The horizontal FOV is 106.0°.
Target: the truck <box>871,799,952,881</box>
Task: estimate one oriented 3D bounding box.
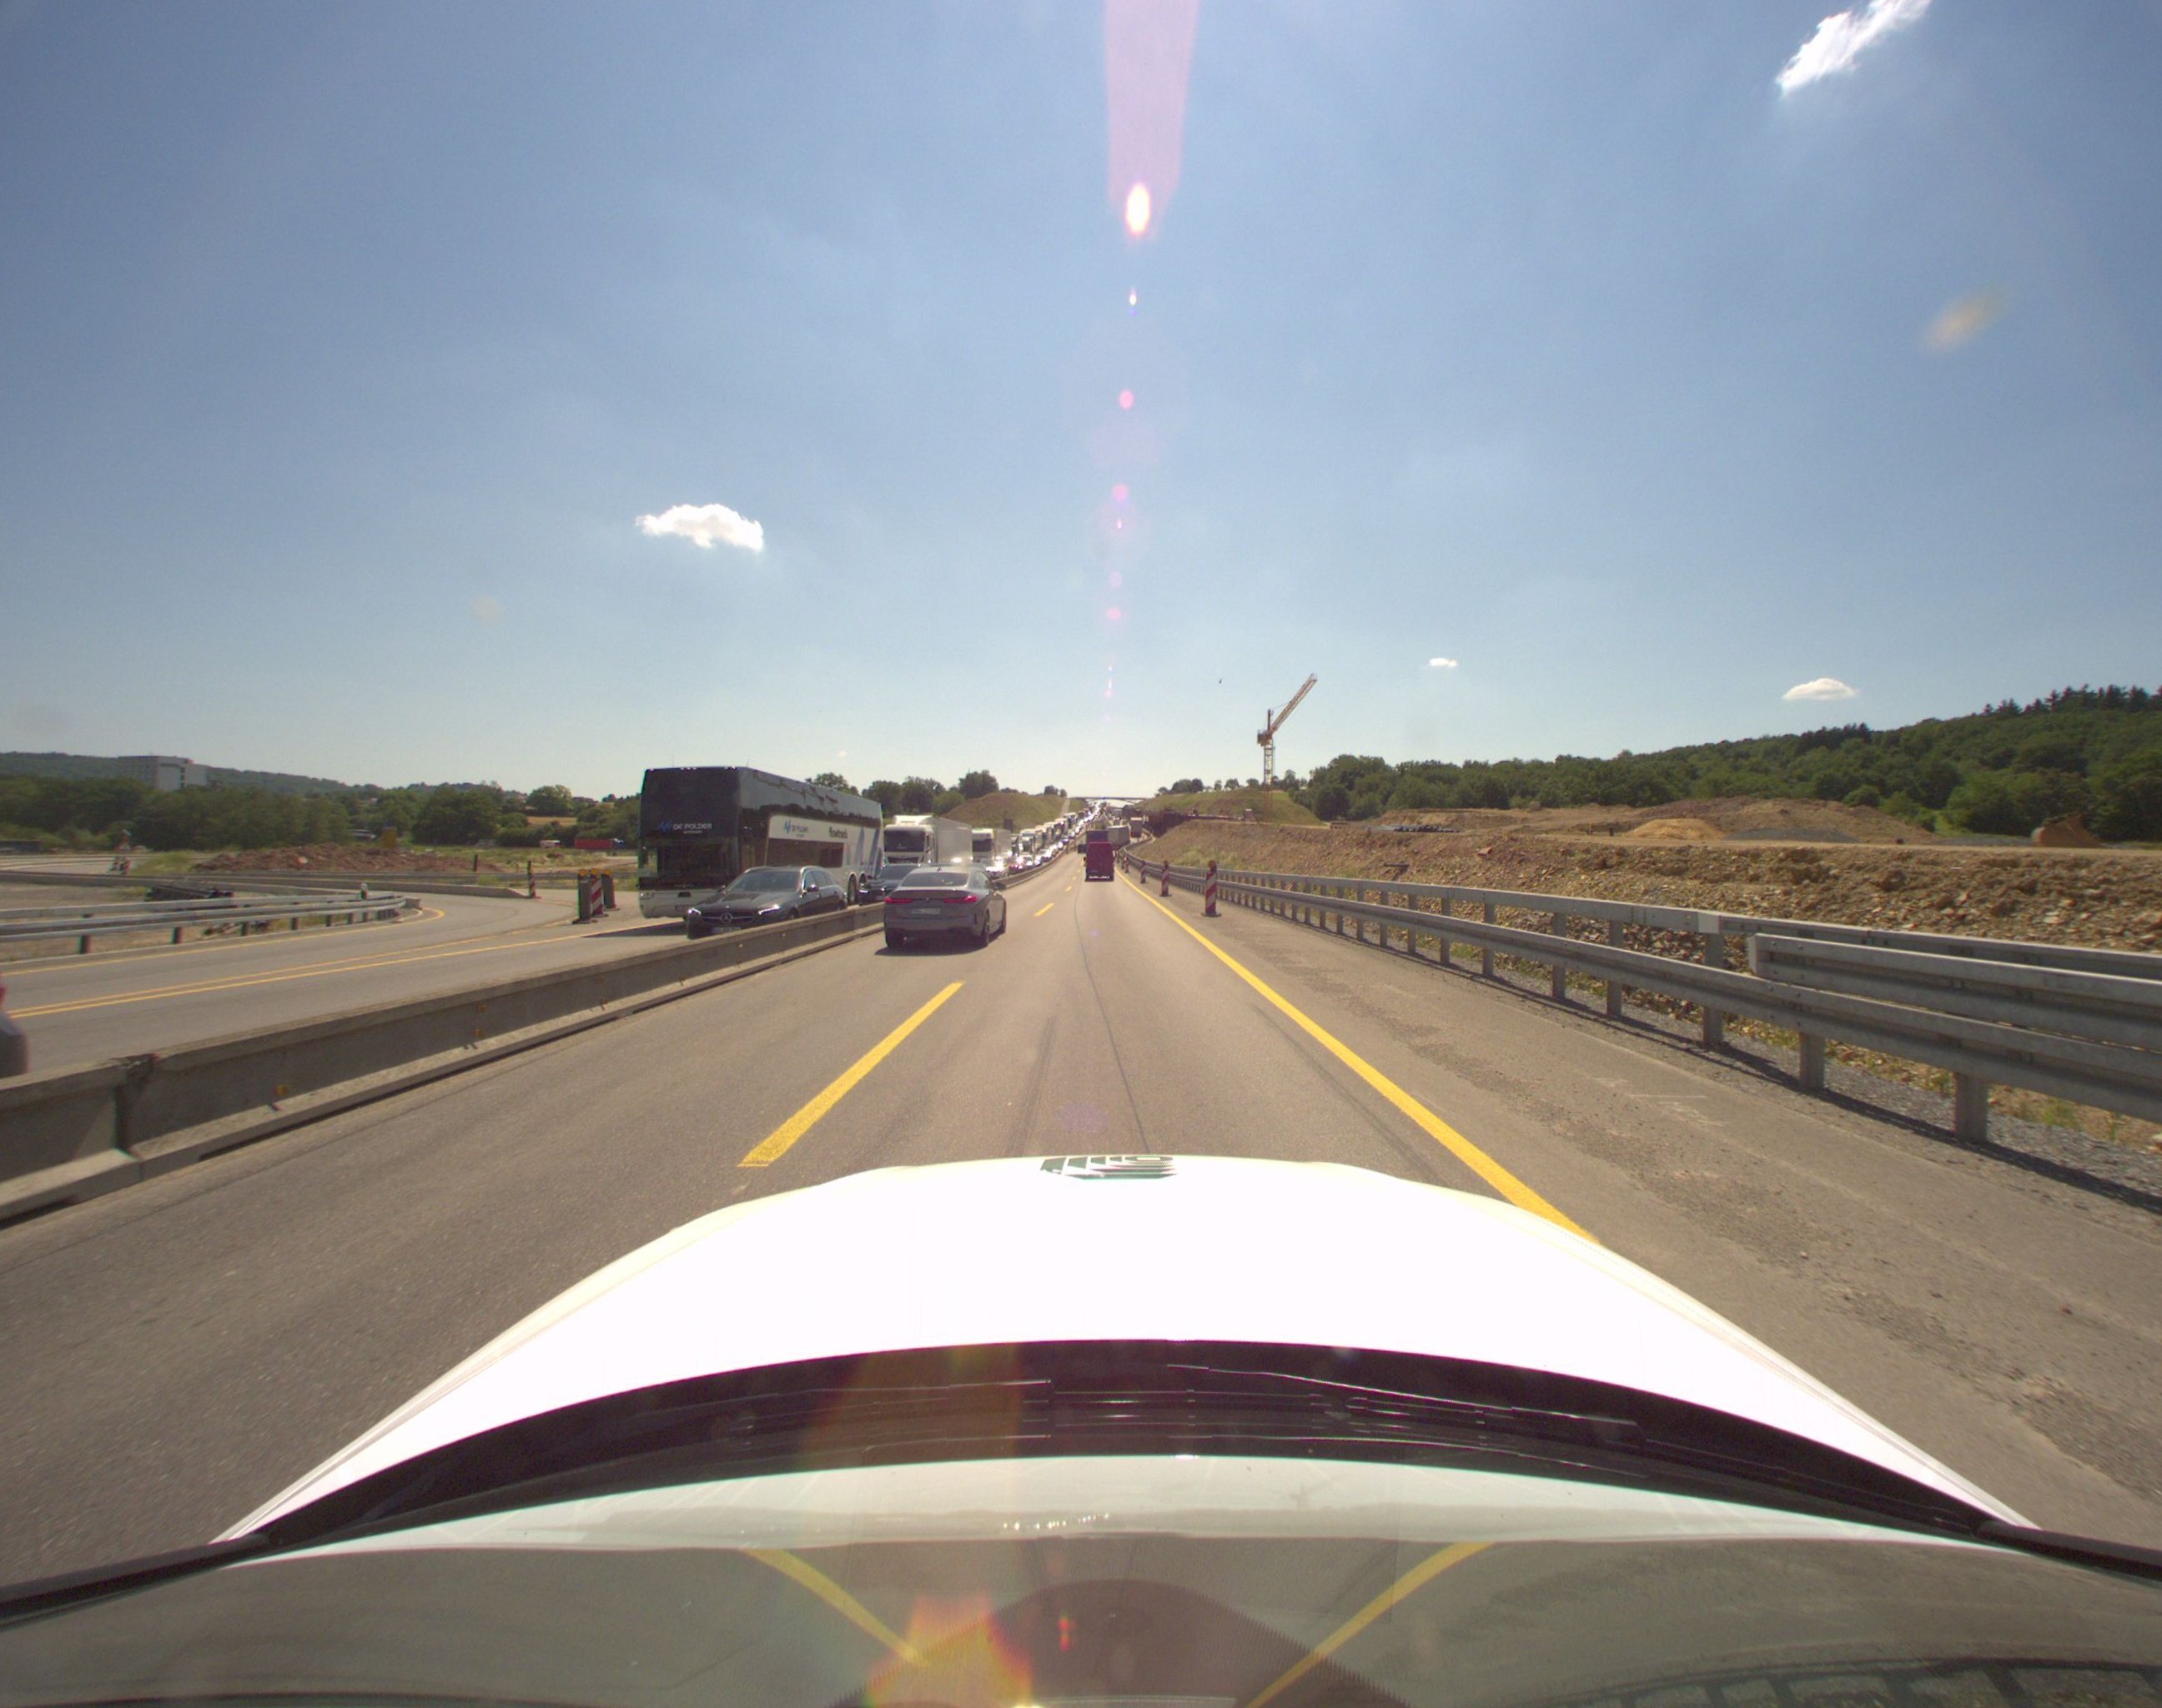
[{"bbox_3d":[-9.279,-0.762,45.323,3.087,4.197,6.701,0,0,0],"label":"truck"}]

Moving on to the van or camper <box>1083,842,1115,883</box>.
[{"bbox_3d":[1.220,0.562,57.204,2.023,2.744,4.514,0,1,-1],"label":"van or camper"}]

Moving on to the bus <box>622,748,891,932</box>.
[{"bbox_3d":[-9.302,-0.281,26.352,2.730,4.264,14.476,-1,0,1],"label":"bus"}]

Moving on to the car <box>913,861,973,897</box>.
[{"bbox_3d":[-5.956,1.050,35.618,1.827,1.423,4.682,-1,0,0],"label":"car"}]

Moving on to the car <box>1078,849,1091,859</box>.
[{"bbox_3d":[0.537,0.055,133.809,2.006,1.545,4.131,0,1,0],"label":"car"}]

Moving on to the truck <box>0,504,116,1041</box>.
[{"bbox_3d":[-9.862,-0.628,1.958,2.792,4.152,10.082,-2,-1,2],"label":"truck"}]

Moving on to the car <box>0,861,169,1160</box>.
[{"bbox_3d":[-6.373,0.831,2.372,1.853,1.494,4.903,-3,0,0],"label":"car"}]

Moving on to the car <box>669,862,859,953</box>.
[{"bbox_3d":[-6.118,0.947,16.461,1.832,1.443,4.930,0,1,1],"label":"car"}]

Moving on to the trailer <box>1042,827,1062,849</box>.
[{"bbox_3d":[-6.055,-3.466,173.469,3.029,4.551,12.140,-1,1,4],"label":"trailer"}]

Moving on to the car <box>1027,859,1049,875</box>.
[{"bbox_3d":[-4.692,1.382,88.460,1.986,1.557,4.339,-3,0,1],"label":"car"}]

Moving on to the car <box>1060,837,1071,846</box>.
[{"bbox_3d":[-3.136,-2.521,163.914,1.987,1.783,3.999,-1,1,0],"label":"car"}]

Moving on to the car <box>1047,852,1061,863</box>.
[{"bbox_3d":[-4.047,0.557,121.397,1.821,1.535,4.546,-3,0,1],"label":"car"}]

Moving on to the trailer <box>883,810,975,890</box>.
[{"bbox_3d":[-9.264,-0.242,51.794,3.130,4.383,14.077,-1,0,0],"label":"trailer"}]

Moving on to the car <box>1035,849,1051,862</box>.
[{"bbox_3d":[-4.946,0.217,105.839,1.821,1.651,4.546,0,0,0],"label":"car"}]

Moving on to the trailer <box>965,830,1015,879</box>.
[{"bbox_3d":[-8.321,0.009,76.663,2.976,4.208,13.946,0,0,1],"label":"trailer"}]

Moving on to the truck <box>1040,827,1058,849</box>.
[{"bbox_3d":[-6.553,-3.354,167.301,3.039,4.480,5.985,-1,1,3],"label":"truck"}]

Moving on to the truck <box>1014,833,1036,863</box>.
[{"bbox_3d":[-8.158,-0.938,119.619,2.542,4.230,6.532,-1,1,1],"label":"truck"}]

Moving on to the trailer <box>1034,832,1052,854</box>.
[{"bbox_3d":[-7.061,-1.991,152.982,2.774,3.931,11.009,-1,0,1],"label":"trailer"}]

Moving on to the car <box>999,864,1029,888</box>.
[{"bbox_3d":[-5.335,1.708,64.991,1.987,1.631,4.758,1,1,0],"label":"car"}]

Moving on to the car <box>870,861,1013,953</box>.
[{"bbox_3d":[-2.494,0.894,15.819,1.845,1.452,4.743,-1,0,1],"label":"car"}]

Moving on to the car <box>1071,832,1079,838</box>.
[{"bbox_3d":[-1.564,-4.739,206.849,1.945,1.530,4.268,-1,1,1],"label":"car"}]

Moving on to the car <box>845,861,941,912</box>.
[{"bbox_3d":[-6.022,0.998,26.762,1.911,1.423,5.091,1,0,1],"label":"car"}]

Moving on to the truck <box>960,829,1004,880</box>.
[{"bbox_3d":[-8.386,0.039,69.582,2.967,4.184,5.874,0,0,0],"label":"truck"}]

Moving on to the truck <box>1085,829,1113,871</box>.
[{"bbox_3d":[2.173,-0.558,96.559,3.009,4.692,6.935,-2,1,1],"label":"truck"}]

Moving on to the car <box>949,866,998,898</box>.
[{"bbox_3d":[-5.484,1.399,42.144,1.806,1.437,5.122,1,1,1],"label":"car"}]

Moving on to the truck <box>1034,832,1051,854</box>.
[{"bbox_3d":[-7.007,-1.979,147.330,2.774,3.869,5.459,-1,-1,-1],"label":"truck"}]

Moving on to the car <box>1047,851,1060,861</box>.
[{"bbox_3d":[-4.449,0.324,131.588,1.896,1.376,4.547,-3,1,1],"label":"car"}]

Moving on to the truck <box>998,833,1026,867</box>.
[{"bbox_3d":[-7.979,-0.500,95.014,2.516,3.855,8.671,0,1,0],"label":"truck"}]

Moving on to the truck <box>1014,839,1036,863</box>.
[{"bbox_3d":[-7.542,-0.448,109.718,2.426,3.148,7.022,-1,1,0],"label":"truck"}]

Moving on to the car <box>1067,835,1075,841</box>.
[{"bbox_3d":[-2.221,-3.579,186.183,1.741,1.409,4.001,-1,1,1],"label":"car"}]

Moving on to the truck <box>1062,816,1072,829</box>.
[{"bbox_3d":[-4.148,-9.416,245.157,2.879,3.839,7.999,-1,1,-1],"label":"truck"}]

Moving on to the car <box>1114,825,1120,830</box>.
[{"bbox_3d":[11.285,-8.259,254.203,1.945,1.641,4.268,0,0,1],"label":"car"}]

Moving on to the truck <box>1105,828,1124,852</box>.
[{"bbox_3d":[5.913,-2.418,145.221,3.028,4.100,7.084,-1,-1,0],"label":"truck"}]

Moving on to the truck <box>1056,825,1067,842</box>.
[{"bbox_3d":[-4.565,-4.774,192.691,2.675,3.839,7.383,-1,1,-1],"label":"truck"}]

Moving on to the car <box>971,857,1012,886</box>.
[{"bbox_3d":[-5.641,1.054,51.778,1.987,1.620,4.881,-3,0,0],"label":"car"}]

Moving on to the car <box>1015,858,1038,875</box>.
[{"bbox_3d":[-5.157,1.164,77.033,1.821,1.574,4.000,-1,-1,0],"label":"car"}]

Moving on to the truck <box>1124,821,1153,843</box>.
[{"bbox_3d":[14.003,-5.247,195.264,5.128,4.996,13.918,-3,1,11],"label":"truck"}]
